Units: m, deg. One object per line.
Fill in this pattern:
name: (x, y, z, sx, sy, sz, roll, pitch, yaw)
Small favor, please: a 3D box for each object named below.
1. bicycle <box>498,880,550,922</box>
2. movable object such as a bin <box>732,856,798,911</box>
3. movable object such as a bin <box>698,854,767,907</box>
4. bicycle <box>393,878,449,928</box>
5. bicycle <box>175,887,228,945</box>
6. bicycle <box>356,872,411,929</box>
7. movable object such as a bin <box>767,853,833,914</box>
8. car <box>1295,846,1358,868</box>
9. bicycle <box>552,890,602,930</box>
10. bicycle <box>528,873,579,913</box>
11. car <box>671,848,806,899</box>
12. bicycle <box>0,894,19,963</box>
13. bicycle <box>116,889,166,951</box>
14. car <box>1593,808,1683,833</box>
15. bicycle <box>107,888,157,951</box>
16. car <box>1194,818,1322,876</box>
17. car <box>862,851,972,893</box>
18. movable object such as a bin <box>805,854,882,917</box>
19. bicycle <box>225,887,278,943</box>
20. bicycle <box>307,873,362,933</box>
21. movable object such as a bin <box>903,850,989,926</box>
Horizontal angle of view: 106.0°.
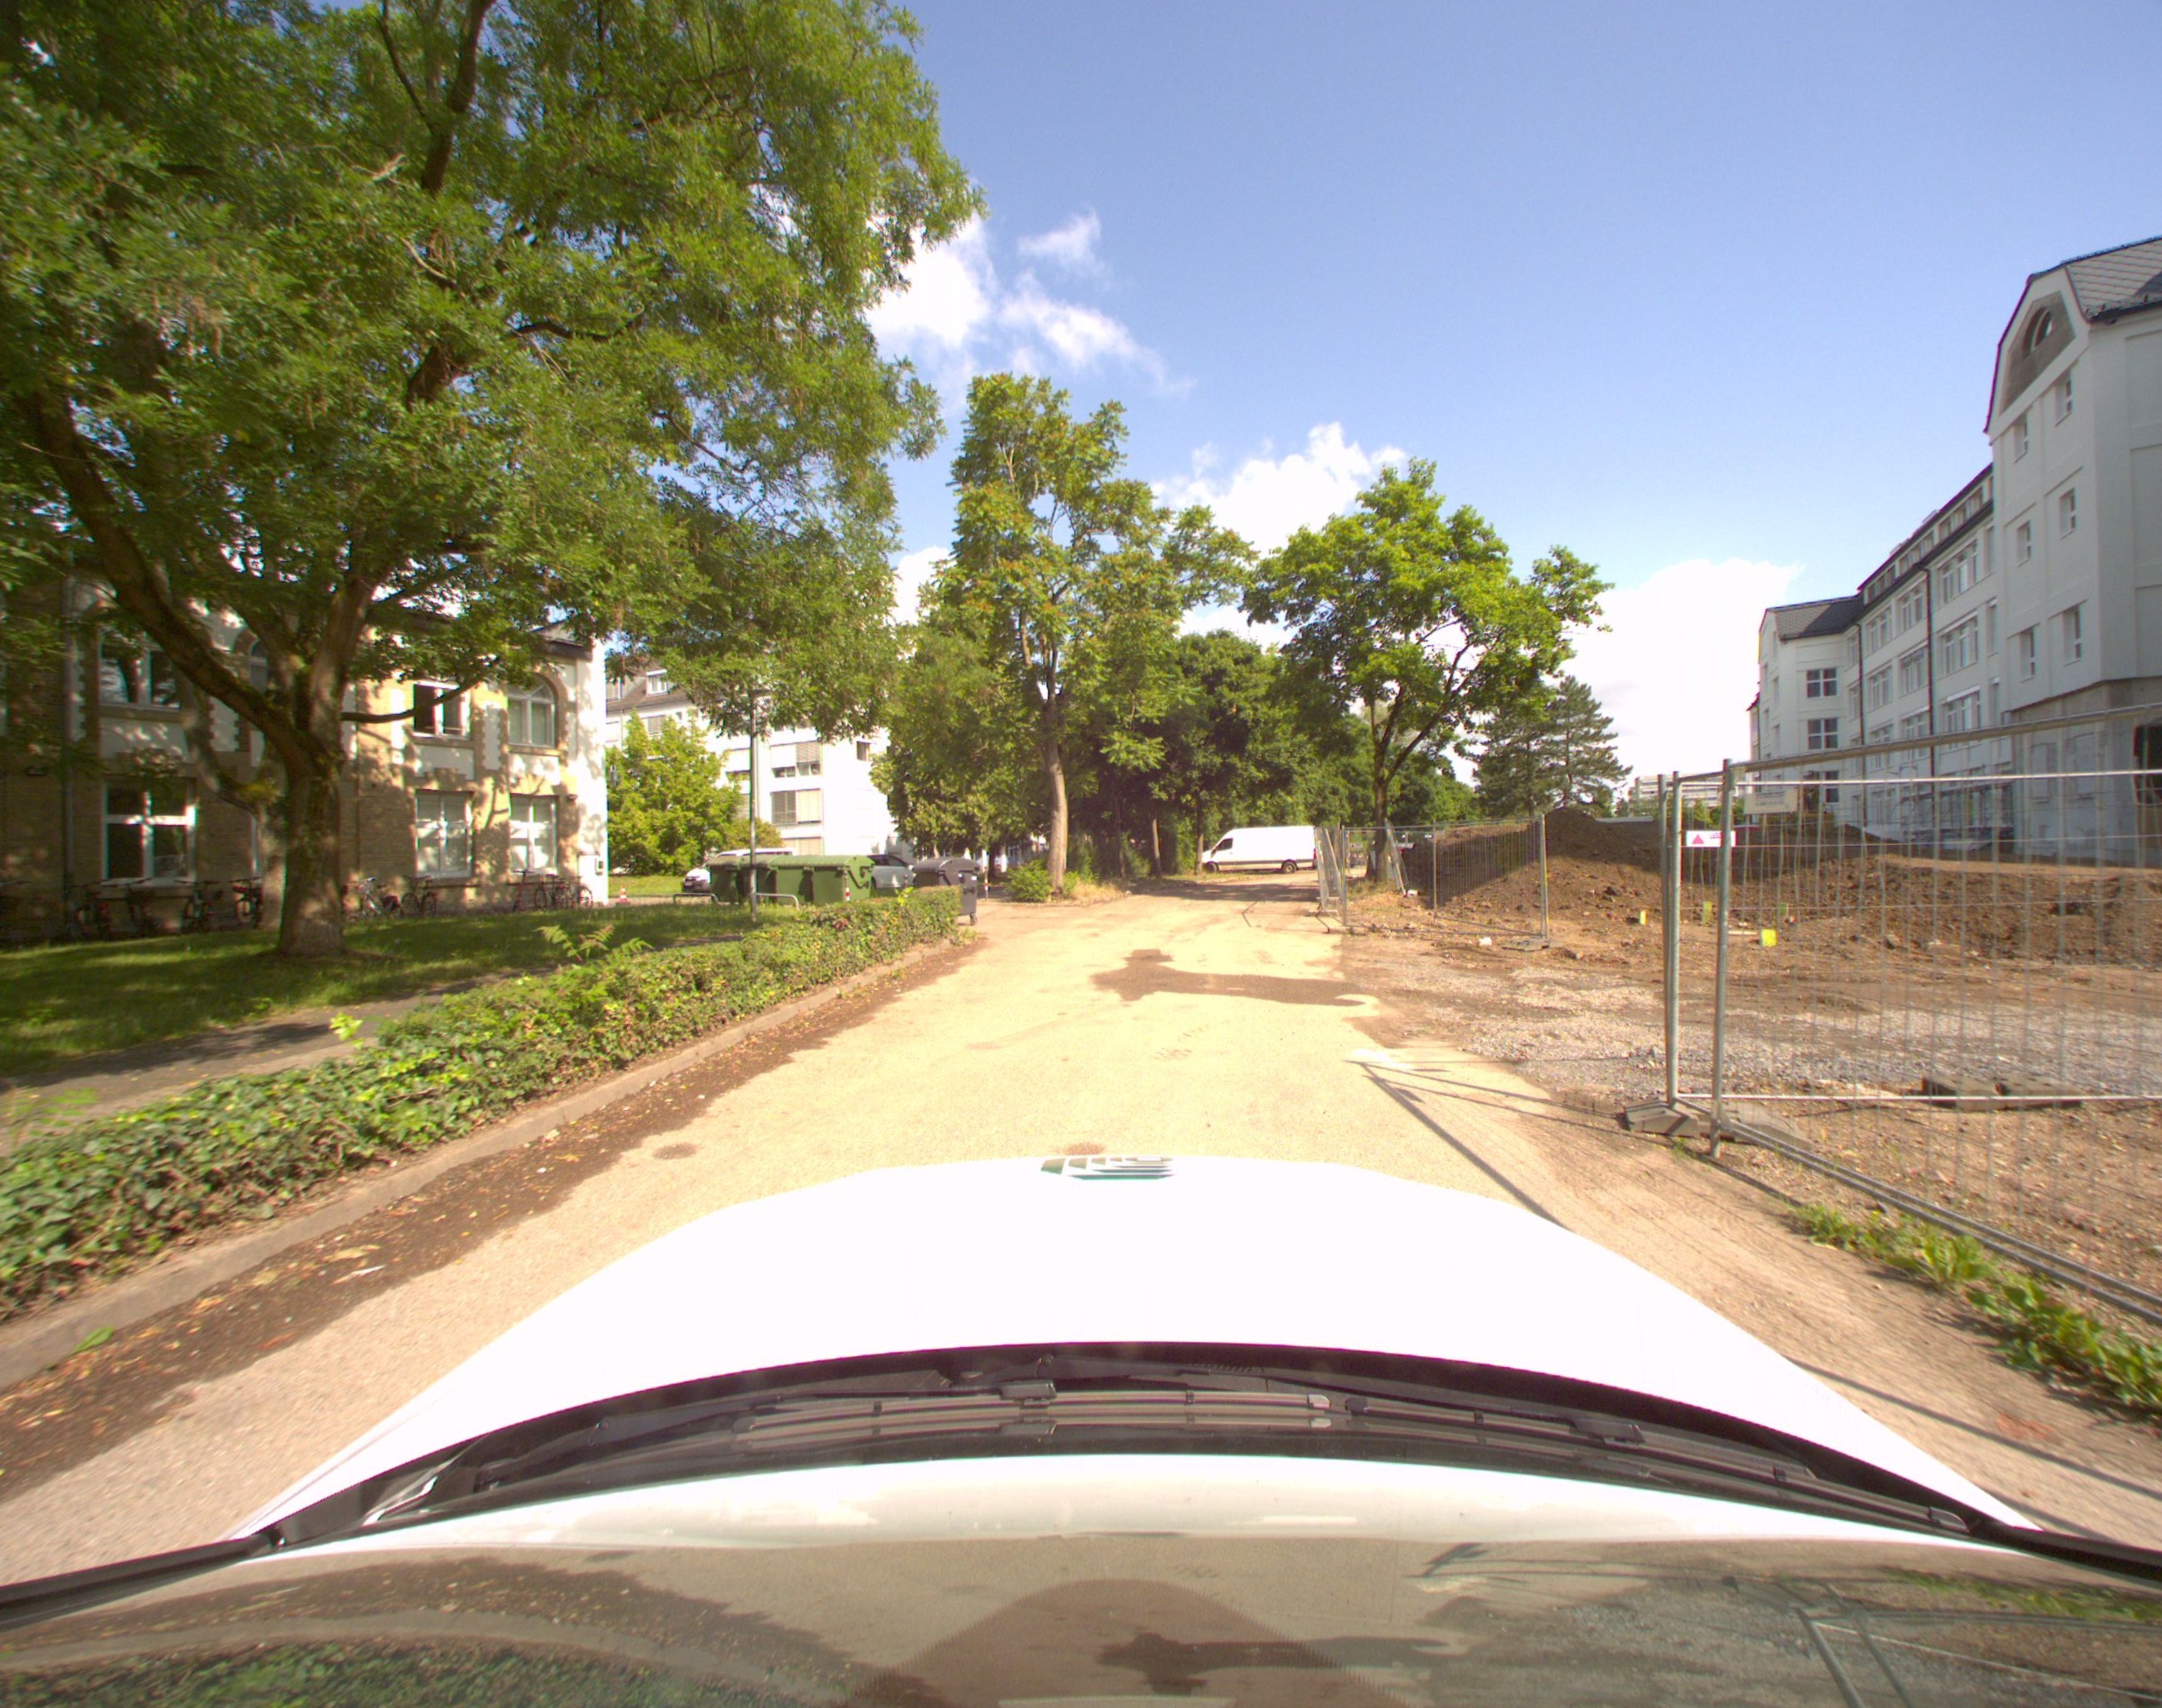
bicycle: (-14.746, 1.230, 21.540, 1.836, 1.037, 0.322, 0, -3, 30)
movable object such as a bin: (-8.133, 0.761, 21.000, 1.219, 1.349, 0.952, 1, -2, 25)
movable object such as a bin: (-9.301, 0.696, 21.762, 1.364, 1.349, 0.952, 1, -2, 25)
bicycle: (-16.009, 1.171, 19.738, 1.836, 1.143, 0.360, 1, -2, 30)
bicycle: (-17.885, 1.227, 16.548, 2.040, 1.056, 0.422, 1, -2, 35)
bicycle: (-16.217, 1.062, 18.915, 2.040, 1.216, 0.422, 1, -2, 35)
movable object such as a bin: (-6.986, 0.727, 20.277, 1.219, 1.452, 0.885, 1, -2, 25)
car: (17.271, 0.194, 57.338, 3.949, 1.428, 1.855, 1, -2, 29)
bicycle: (-14.092, 1.556, 22.772, 1.836, 1.037, 0.322, 0, -3, 30)
bicycle: (-14.348, 1.056, 22.124, 1.836, 1.037, 0.322, 0, -3, 30)
car: (-14.356, 0.815, 34.394, 1.974, 1.965, 4.986, -2, -2, 33)
bicycle: (-18.965, 1.287, 14.221, 2.040, 1.056, 0.422, 1, 1, 35)
bicycle: (-18.259, 1.257, 15.808, 2.040, 1.056, 0.422, 1, 1, 35)
car: (36.292, -2.168, 53.192, 4.806, 1.428, 1.856, 1, -2, 33)
bicycle: (-18.309, 1.238, 15.697, 2.040, 1.056, 0.422, 1, 1, 35)
car: (10.052, -0.418, 46.224, 6.900, 3.047, 2.008, 2, 0, 16)
car: (-5.934, 0.613, 29.891, 1.736, 1.420, 3.941, 0, 0, 31)
movable object such as a bin: (-5.718, 0.749, 19.609, 1.326, 1.452, 1.110, 1, -2, 32)
bicycle: (-17.460, 1.255, 17.128, 2.040, 1.056, 0.422, 1, -2, 35)
bicycle: (-16.685, 1.068, 18.189, 2.041, 1.122, 0.422, 5, 0, 35)
movable object such as a bin: (-2.869, 0.713, 17.289, 1.255, 1.482, 1.281, 4, 0, -39)
